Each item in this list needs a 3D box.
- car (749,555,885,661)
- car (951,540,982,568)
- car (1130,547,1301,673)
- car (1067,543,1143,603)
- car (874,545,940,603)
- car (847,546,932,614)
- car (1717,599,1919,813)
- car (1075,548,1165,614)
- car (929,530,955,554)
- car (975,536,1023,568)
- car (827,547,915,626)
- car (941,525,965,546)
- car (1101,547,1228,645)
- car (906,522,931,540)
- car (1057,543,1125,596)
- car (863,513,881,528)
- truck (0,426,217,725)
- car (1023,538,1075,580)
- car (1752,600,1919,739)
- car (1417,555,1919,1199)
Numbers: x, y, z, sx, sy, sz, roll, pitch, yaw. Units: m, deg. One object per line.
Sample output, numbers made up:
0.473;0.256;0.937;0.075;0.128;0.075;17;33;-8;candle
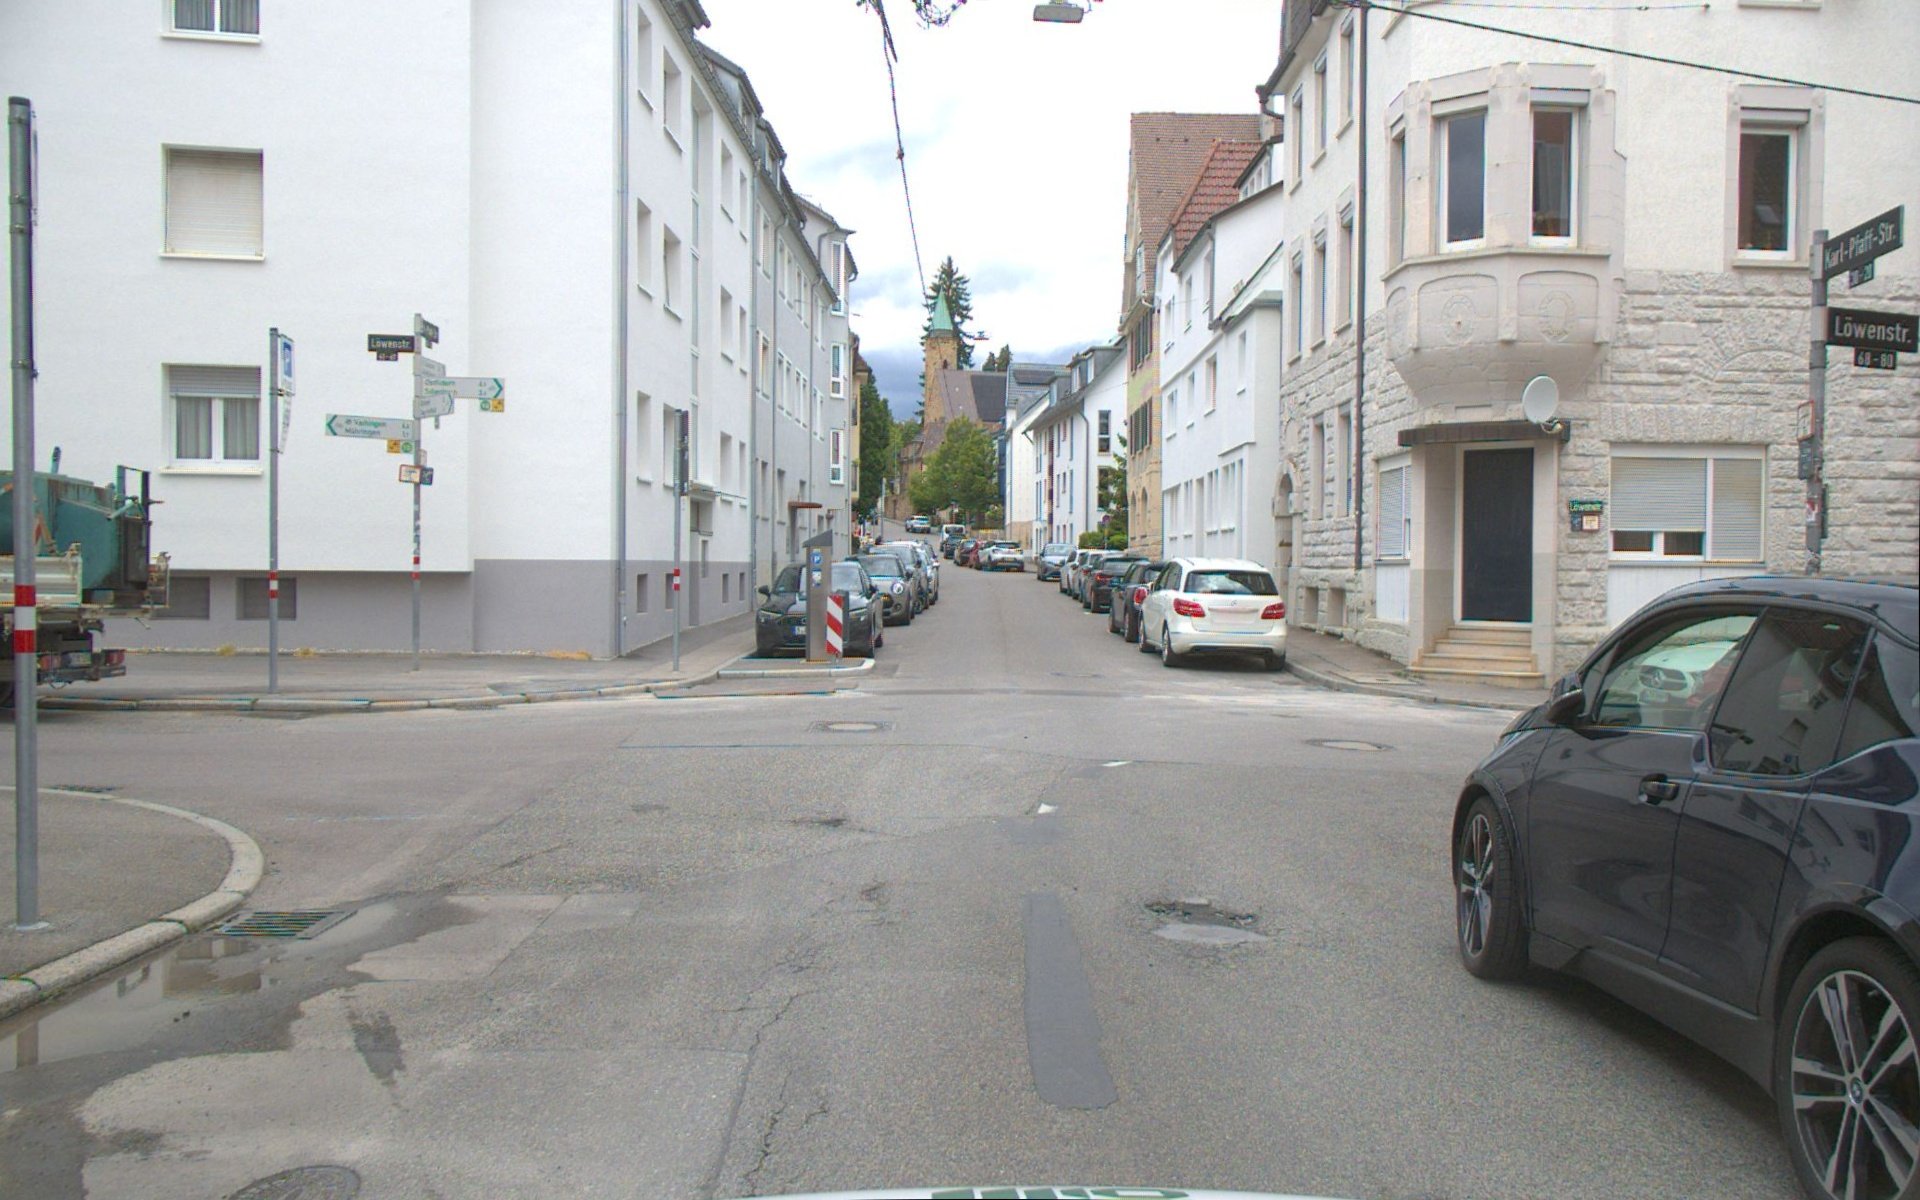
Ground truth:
-2.107;0.055;25.446;1.783;1.415;4.298;-1;2;-1;car
0.363;-2.620;94.073;1.634;1.504;3.625;1;3;-2;car
3.781;0.076;25.133;1.783;1.626;4.027;2;3;-2;car
4.045;-0.784;46.618;1.634;1.504;3.625;2;3;-2;car
-1.420;-0.746;44.763;1.695;1.473;3.719;-1;2;-1;car
-1.644;-0.517;39.583;1.694;1.495;3.721;0;2;3;car
8.128;0.825;13.048;3.546;1.505;1.670;2;1;-8;car
3.856;-0.500;40.510;1.634;1.409;4.027;2;3;-2;car
-1.225;-3.915;110.960;1.634;1.504;3.625;1;3;-2;car
1.926;-2.406;82.987;1.751;1.504;3.619;0;3;-9;car
-1.821;-0.322;34.611;1.695;1.515;3.719;-1;2;-1;car
-0.523;-4.825;122.675;1.634;1.504;3.625;1;3;-2;car
3.658;-0.131;30.215;1.634;1.559;4.027;2;3;-2;car
-4.055;-6.727;161.562;2.140;1.722;3.621;1;3;-7;car
4.037;-0.978;51.460;1.634;1.504;3.625;2;3;-2;car
-9.360;-8.479;176.325;1.636;1.504;3.621;1;3;-7;car
-10.470;-0.214;15.255;6.148;2.596;2.314;0;0;-7;truck
3.456;-1.622;64.659;1.634;1.504;3.625;2;3;-2;car
11.554;0.817;19.013;4.147;1.438;1.702;2;1;-8;car
2.955;0.697;5.142;1.781;1.570;4.026;2;1;-2;car
